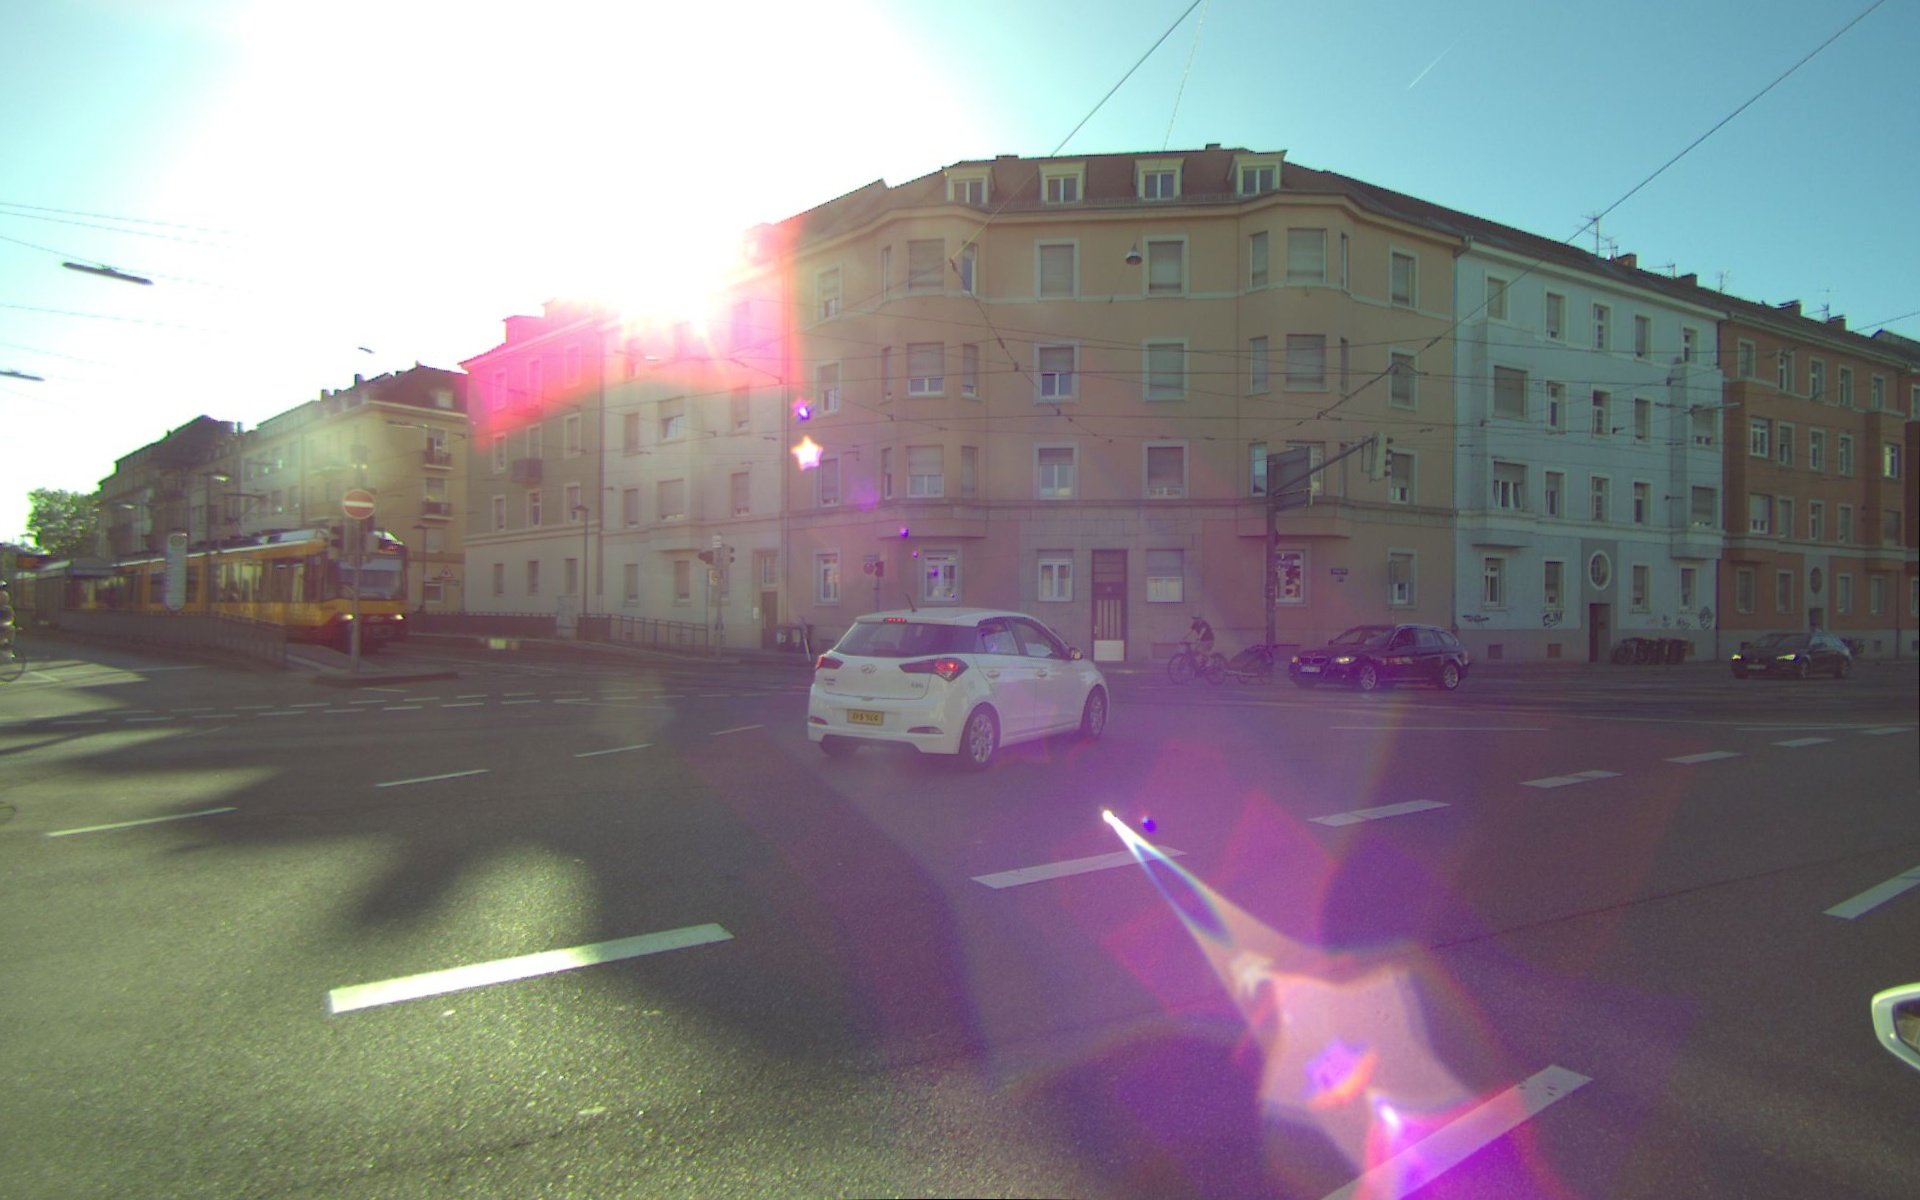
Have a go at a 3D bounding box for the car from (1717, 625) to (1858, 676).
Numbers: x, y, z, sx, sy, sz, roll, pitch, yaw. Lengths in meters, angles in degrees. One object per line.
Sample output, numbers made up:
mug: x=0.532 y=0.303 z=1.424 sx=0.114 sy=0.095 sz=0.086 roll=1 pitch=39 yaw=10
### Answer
car: x=25.928 y=1.555 z=31.444 sx=4.442 sy=1.474 sz=1.914 roll=1 pitch=-1 yaw=-29

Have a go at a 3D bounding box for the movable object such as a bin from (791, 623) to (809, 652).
movable object such as a bin: x=-5.836 y=1.368 z=36.715 sx=0.444 sy=1.046 sz=0.480 roll=0 pitch=-1 yaw=41

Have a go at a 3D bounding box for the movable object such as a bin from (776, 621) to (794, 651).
movable object such as a bin: x=-6.475 y=1.326 z=37.180 sx=0.444 sy=1.080 sz=0.480 roll=0 pitch=-1 yaw=41

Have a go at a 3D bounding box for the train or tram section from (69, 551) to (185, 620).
train or tram section: x=-44.997 y=-0.771 z=54.110 sx=10.690 sy=3.401 sz=3.150 roll=1 pitch=0 yaw=41

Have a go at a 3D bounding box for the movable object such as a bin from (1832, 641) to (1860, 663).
movable object such as a bin: x=42.990 y=2.525 z=48.719 sx=0.802 sy=1.054 sz=0.838 roll=1 pitch=-1 yaw=-32

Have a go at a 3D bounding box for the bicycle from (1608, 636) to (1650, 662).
bicycle: x=26.853 y=1.955 z=40.314 sx=1.854 sy=0.993 sz=0.603 roll=1 pitch=0 yaw=-28

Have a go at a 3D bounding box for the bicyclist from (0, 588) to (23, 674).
bicyclist: x=-19.190 y=0.602 z=19.936 sx=0.924 sy=1.661 sz=0.675 roll=1 pitch=0 yaw=36

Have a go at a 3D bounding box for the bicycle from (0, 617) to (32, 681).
bicycle: x=-19.124 y=0.954 z=19.890 sx=2.040 sy=1.151 sz=0.683 roll=2 pitch=0 yaw=36

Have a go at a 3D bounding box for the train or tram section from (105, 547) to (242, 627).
train or tram section: x=-37.034 y=-0.604 z=47.083 sx=10.690 sy=3.401 sz=3.150 roll=1 pitch=0 yaw=41

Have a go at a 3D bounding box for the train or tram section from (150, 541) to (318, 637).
train or tram section: x=-29.168 y=-0.439 z=40.096 sx=10.523 sy=3.401 sz=3.150 roll=1 pitch=0 yaw=41

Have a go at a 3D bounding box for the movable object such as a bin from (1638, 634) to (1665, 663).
movable object such as a bin: x=28.249 y=1.978 z=41.028 sx=0.640 sy=1.121 sz=0.699 roll=1 pitch=0 yaw=-28

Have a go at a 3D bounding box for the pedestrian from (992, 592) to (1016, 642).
pedestrian: x=1.427 y=0.539 z=32.225 sx=0.705 sy=1.584 sz=0.678 roll=1 pitch=-1 yaw=7

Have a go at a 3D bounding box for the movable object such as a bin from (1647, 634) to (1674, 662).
movable object such as a bin: x=28.823 y=1.962 z=41.338 sx=0.575 sy=1.121 sz=0.699 roll=1 pitch=0 yaw=-27

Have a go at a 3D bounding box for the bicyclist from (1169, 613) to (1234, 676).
bicyclist: x=5.515 y=0.998 z=22.971 sx=1.131 sy=1.400 sz=0.931 roll=1 pitch=0 yaw=-23

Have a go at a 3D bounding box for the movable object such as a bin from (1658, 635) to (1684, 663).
movable object such as a bin: x=29.415 y=2.016 z=41.581 sx=0.575 sy=1.121 sz=0.699 roll=1 pitch=0 yaw=-28

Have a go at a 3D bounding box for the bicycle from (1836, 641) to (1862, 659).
bicycle: x=43.887 y=2.468 z=49.592 sx=1.582 sy=0.902 sz=0.333 roll=1 pitch=-1 yaw=-24

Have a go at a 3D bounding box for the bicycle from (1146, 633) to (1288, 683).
bicycle: x=5.948 y=1.313 z=23.157 sx=3.306 sy=1.070 sz=0.931 roll=1 pitch=-1 yaw=-24

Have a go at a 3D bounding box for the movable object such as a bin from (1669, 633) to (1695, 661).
movable object such as a bin: x=30.068 y=1.953 z=41.818 sx=0.575 sy=1.121 sz=0.699 roll=1 pitch=0 yaw=-28

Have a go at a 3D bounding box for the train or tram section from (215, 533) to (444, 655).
train or tram section: x=-20.854 y=-0.136 z=32.730 sx=11.645 sy=3.365 sz=3.152 roll=0 pitch=-1 yaw=41

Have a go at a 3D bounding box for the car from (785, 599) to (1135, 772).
car: x=0.223 y=0.737 z=10.456 sx=1.761 sy=1.412 sz=4.096 roll=0 pitch=-1 yaw=32

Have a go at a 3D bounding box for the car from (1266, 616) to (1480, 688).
car: x=9.005 y=1.075 z=21.838 sx=4.508 sy=1.411 sz=1.984 roll=1 pitch=-1 yaw=-30
